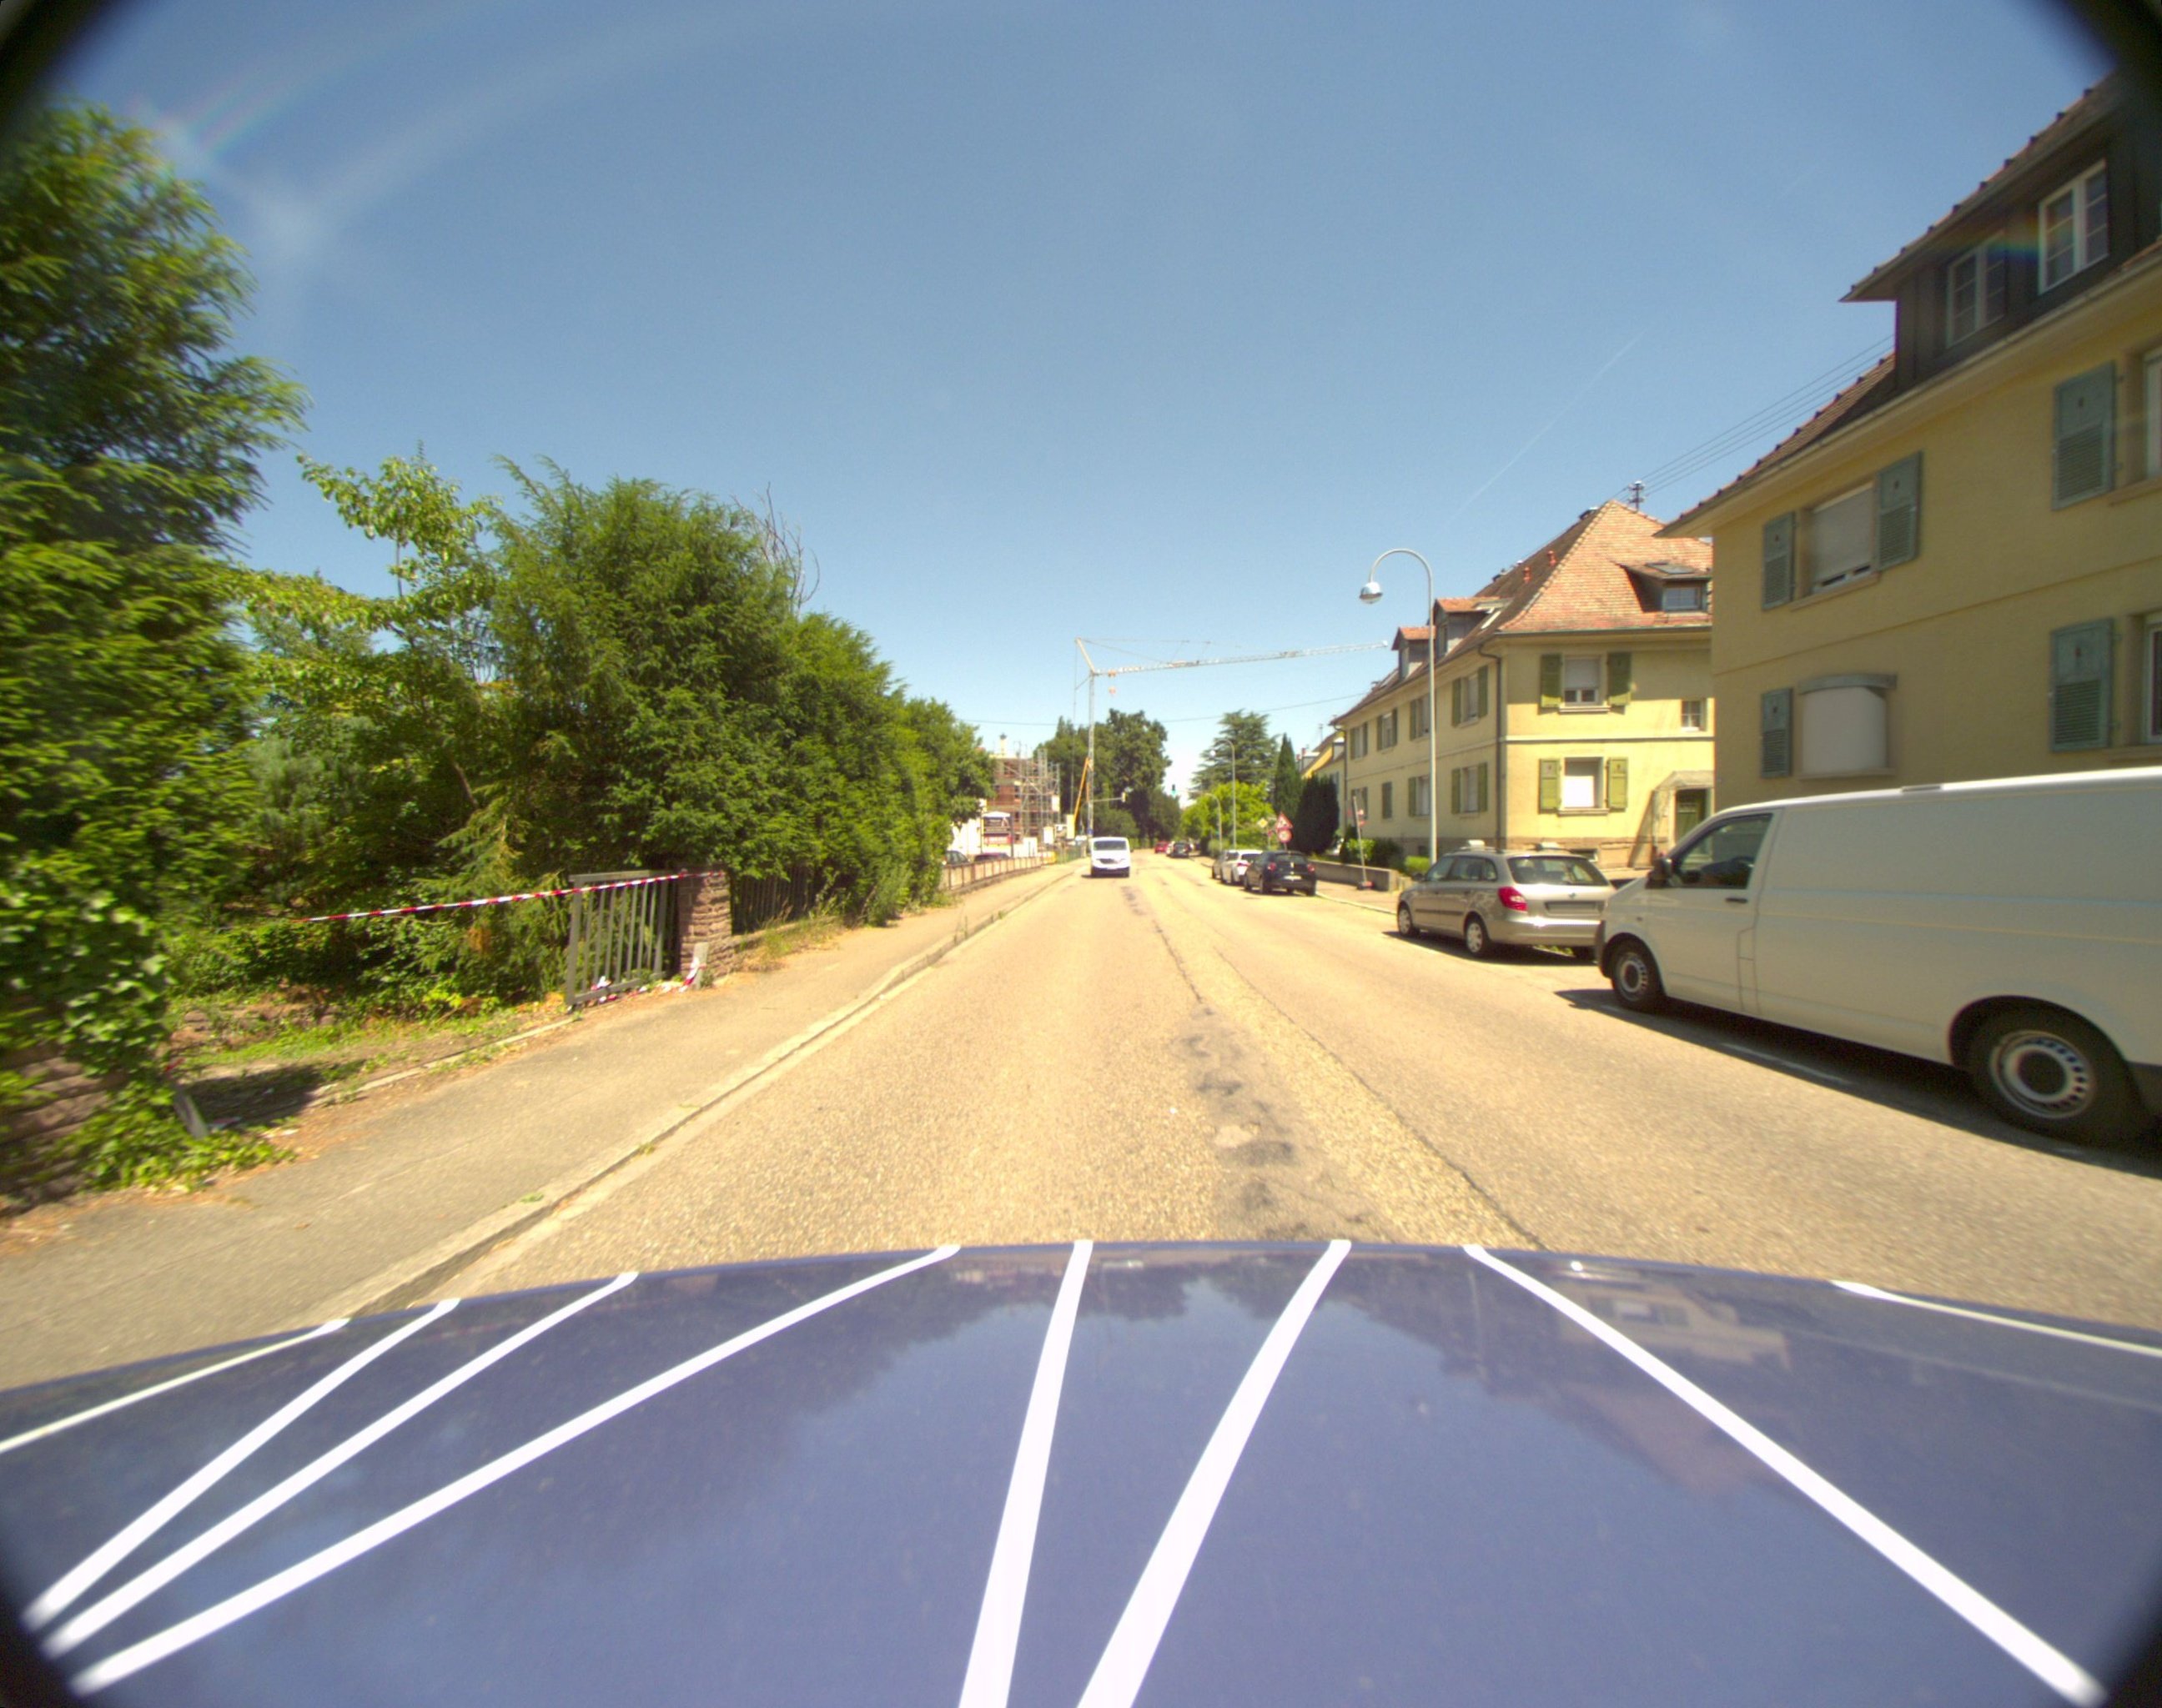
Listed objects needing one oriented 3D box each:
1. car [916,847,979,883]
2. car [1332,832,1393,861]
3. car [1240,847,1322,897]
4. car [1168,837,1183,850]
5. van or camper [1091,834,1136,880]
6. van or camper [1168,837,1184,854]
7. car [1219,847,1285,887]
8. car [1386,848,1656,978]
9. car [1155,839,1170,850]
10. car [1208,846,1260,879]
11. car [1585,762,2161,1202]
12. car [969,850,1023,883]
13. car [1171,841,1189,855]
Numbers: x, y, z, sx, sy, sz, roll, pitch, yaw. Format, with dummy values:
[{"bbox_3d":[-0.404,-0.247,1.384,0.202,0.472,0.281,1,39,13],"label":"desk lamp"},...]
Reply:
[{"bbox_3d":[-6.851,0.521,39.406,1.715,1.656,4.462,-3,1,10],"label":"car"},{"bbox_3d":[17.369,-0.472,47.004,3.208,1.448,1.735,-5,2,10],"label":"car"},{"bbox_3d":[6.617,0.546,25.569,1.720,1.477,4.075,1,2,1],"label":"car"},{"bbox_3d":[11.178,-1.280,89.760,1.684,1.433,4.249,1,2,9],"label":"car"},{"bbox_3d":[1.661,0.069,38.496,1.998,1.968,5.360,-4,3,3],"label":"van or camper"},{"bbox_3d":[10.528,-0.947,83.900,1.684,1.794,3.986,1,2,7],"label":"van or camper"},{"bbox_3d":[6.844,0.472,30.747,1.799,1.394,4.218,0,2,1],"label":"car"},{"bbox_3d":[6.177,0.708,11.300,1.691,1.516,4.062,1,1,1],"label":"car"},{"bbox_3d":[11.327,-1.304,105.927,1.818,1.557,3.696,0,1,3],"label":"car"},{"bbox_3d":[7.179,0.354,36.011,1.763,1.439,3.923,0,1,2],"label":"car"},{"bbox_3d":[5.793,0.556,5.031,1.882,1.952,4.625,1,1,2],"label":"car"},{"bbox_3d":[-4.313,0.592,39.196,1.714,1.515,3.841,-1,1,10],"label":"car"},{"bbox_3d":[10.309,-0.652,79.182,1.684,1.404,3.927,1,2,5],"label":"car"}]
